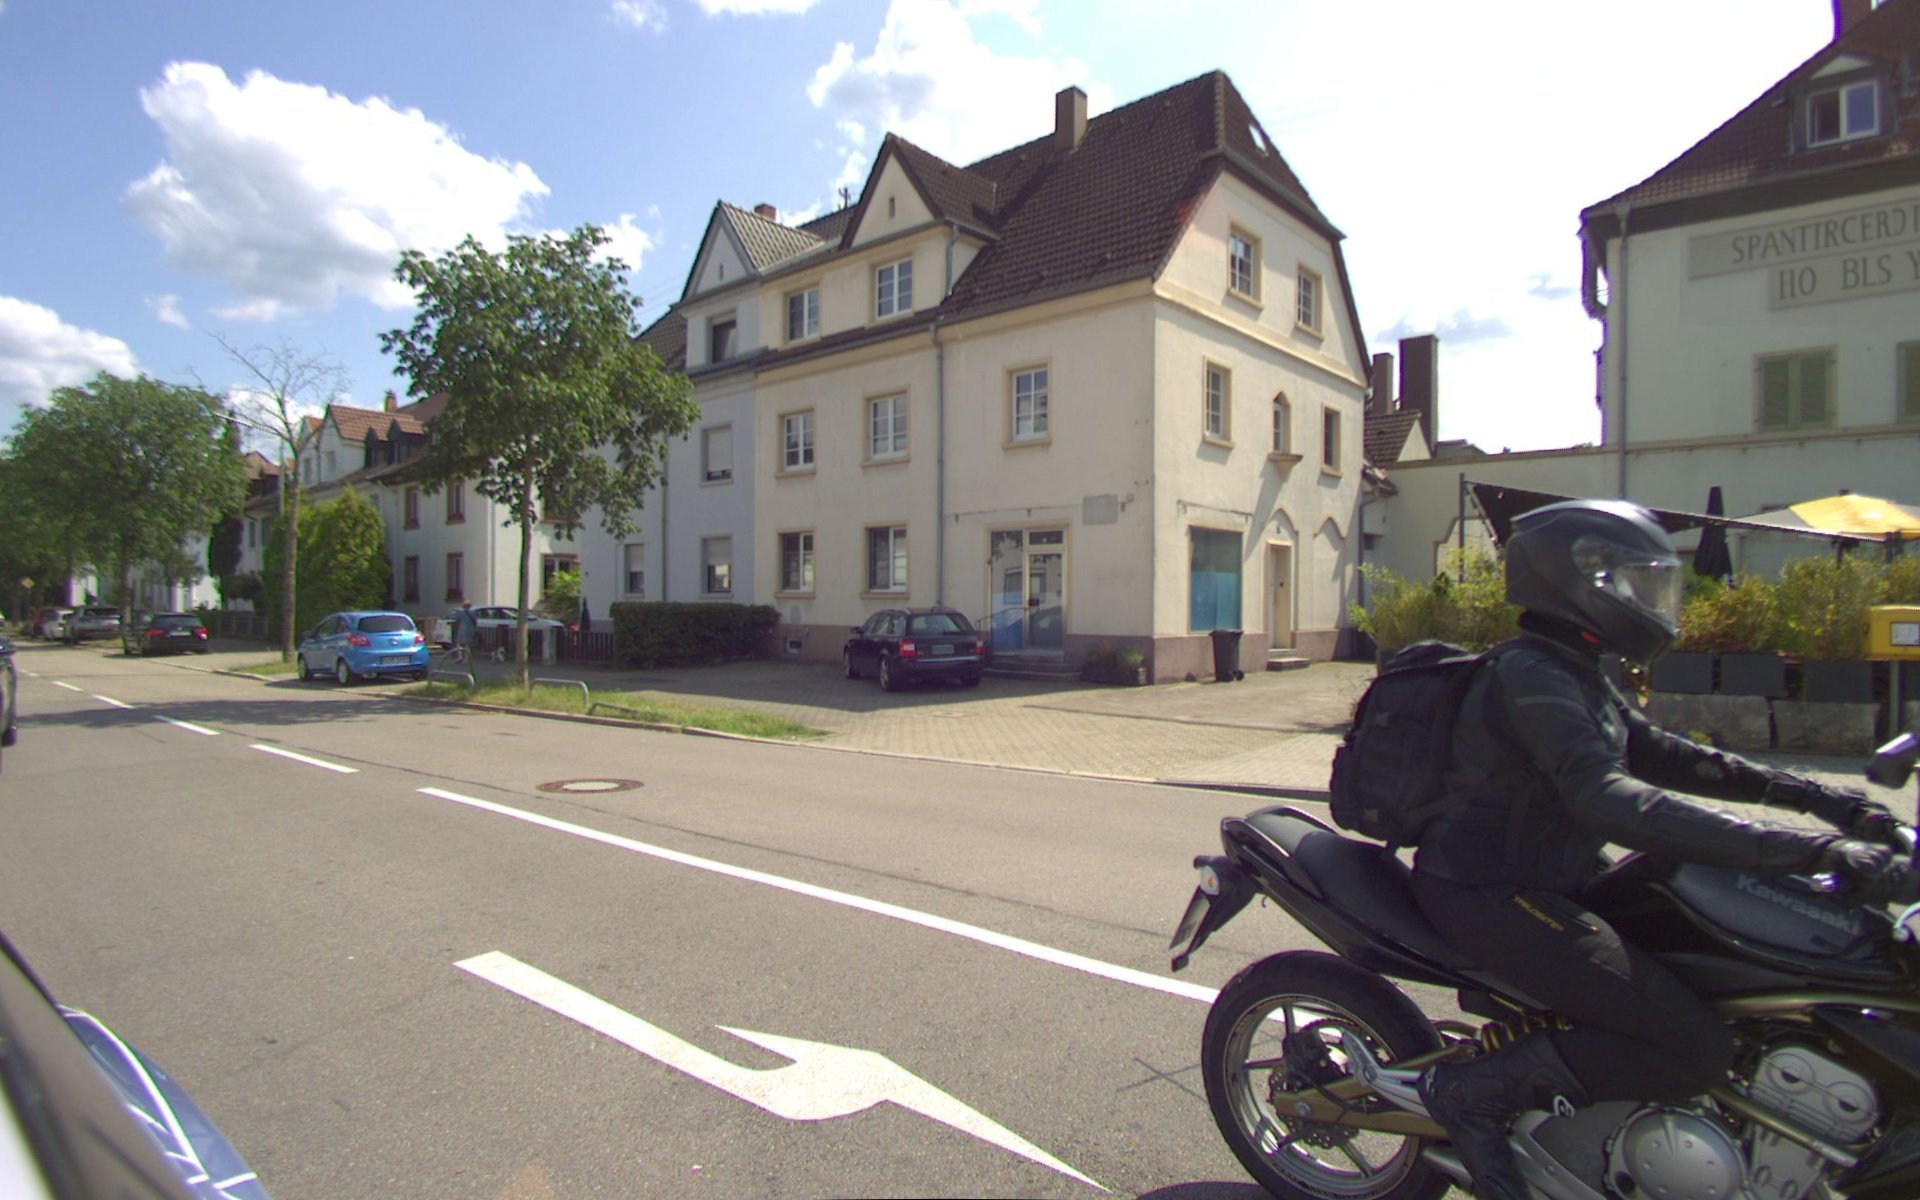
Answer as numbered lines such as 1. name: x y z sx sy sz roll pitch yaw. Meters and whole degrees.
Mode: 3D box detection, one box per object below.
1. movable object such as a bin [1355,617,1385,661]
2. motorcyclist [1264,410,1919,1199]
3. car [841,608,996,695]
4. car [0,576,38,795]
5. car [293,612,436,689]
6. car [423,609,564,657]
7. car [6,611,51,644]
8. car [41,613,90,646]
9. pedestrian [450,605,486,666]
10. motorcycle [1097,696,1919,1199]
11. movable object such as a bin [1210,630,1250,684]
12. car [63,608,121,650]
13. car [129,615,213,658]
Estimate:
1. movable object such as a bin: 9.971 0.949 24.613 0.510 1.053 0.607 -1 -1 41
2. motorcyclist: 1.287 0.450 1.982 1.096 1.409 0.817 -4 -2 31
3. car: -0.889 0.862 18.582 1.732 1.397 4.115 0 -1 -19
4. car: -10.064 0.714 9.375 4.873 1.777 1.753 -1 -1 42
5. car: -12.537 1.002 21.264 3.153 1.473 1.687 -1 -1 41
6. car: -14.864 1.022 32.385 1.711 1.465 3.753 -1 -1 44
7. car: -47.872 1.401 51.991 3.252 1.667 1.541 -1 -1 45
8. car: -40.893 1.307 46.249 1.601 1.436 3.004 0 0 -43
9. pedestrian: -12.628 0.907 25.984 0.617 1.547 0.624 -1 -1 40
10. motorcycle: 1.494 0.822 1.821 2.350 1.136 0.835 0 -1 31
11. movable object such as a bin: 5.093 1.062 19.074 0.510 0.979 0.607 -1 -1 41
12. car: -36.328 1.186 42.325 3.575 1.667 1.541 -1 -1 45
13. car: -25.858 1.153 33.121 3.919 1.306 1.686 -1 -1 45
